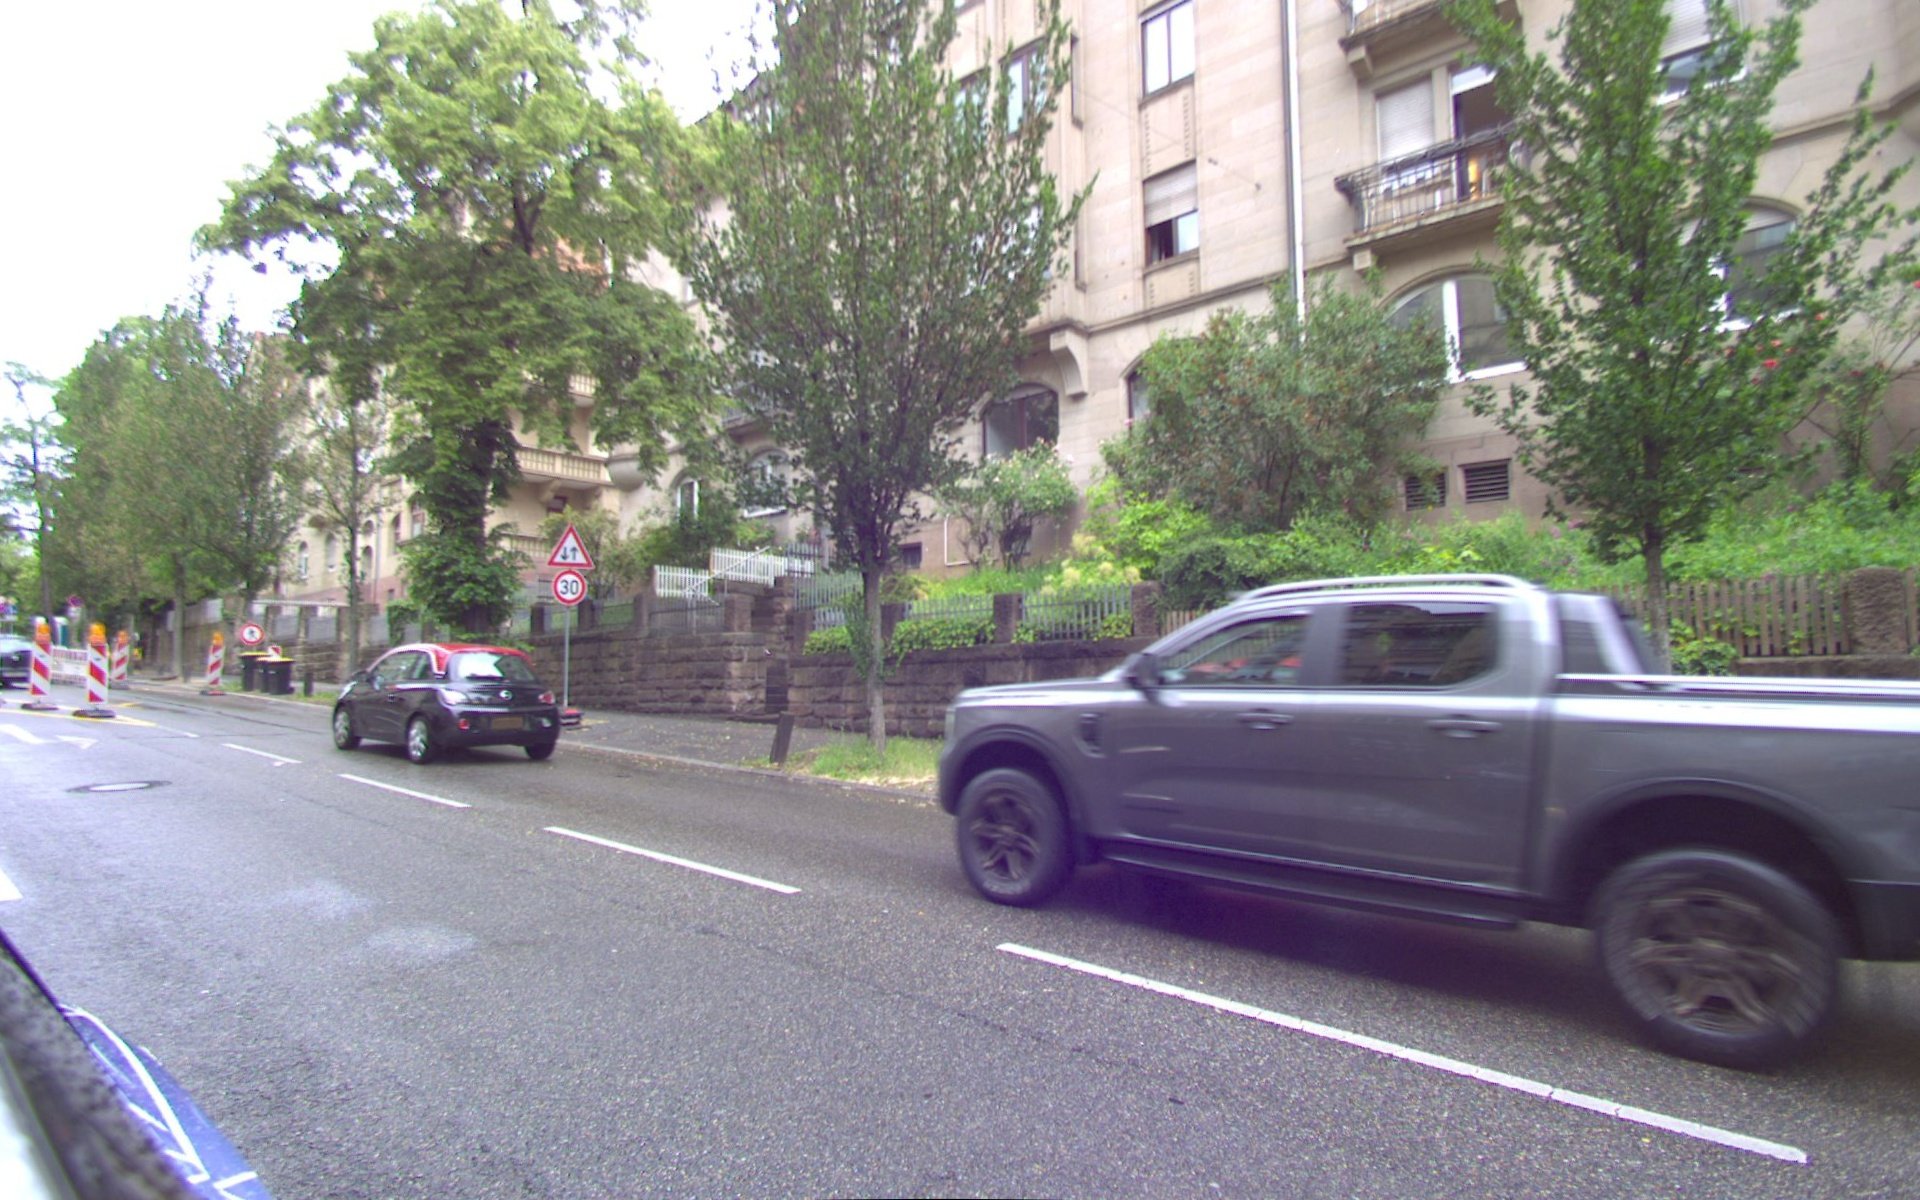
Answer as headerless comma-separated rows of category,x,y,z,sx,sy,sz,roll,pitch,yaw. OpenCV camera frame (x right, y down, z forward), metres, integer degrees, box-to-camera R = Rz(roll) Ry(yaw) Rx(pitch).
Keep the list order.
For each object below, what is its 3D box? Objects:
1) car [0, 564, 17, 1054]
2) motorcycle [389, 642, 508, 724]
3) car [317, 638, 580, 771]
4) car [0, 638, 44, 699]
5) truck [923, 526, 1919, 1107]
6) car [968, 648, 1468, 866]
car,-5.391,0.757,4.156,4.520,1.685,1.799,-2,-3,42
motorcycle,-9.730,1.528,19.174,3.058,1.425,0.792,-2,-2,38
car,-6.729,1.288,13.196,3.652,1.483,1.649,-2,-6,39
car,-25.661,1.754,26.569,4.316,1.523,1.885,-2,-5,42
truck,2.394,0.808,5.220,5.150,1.850,2.049,-2,-6,41
car,2.115,1.191,9.051,4.062,1.462,1.596,-2,-3,42
